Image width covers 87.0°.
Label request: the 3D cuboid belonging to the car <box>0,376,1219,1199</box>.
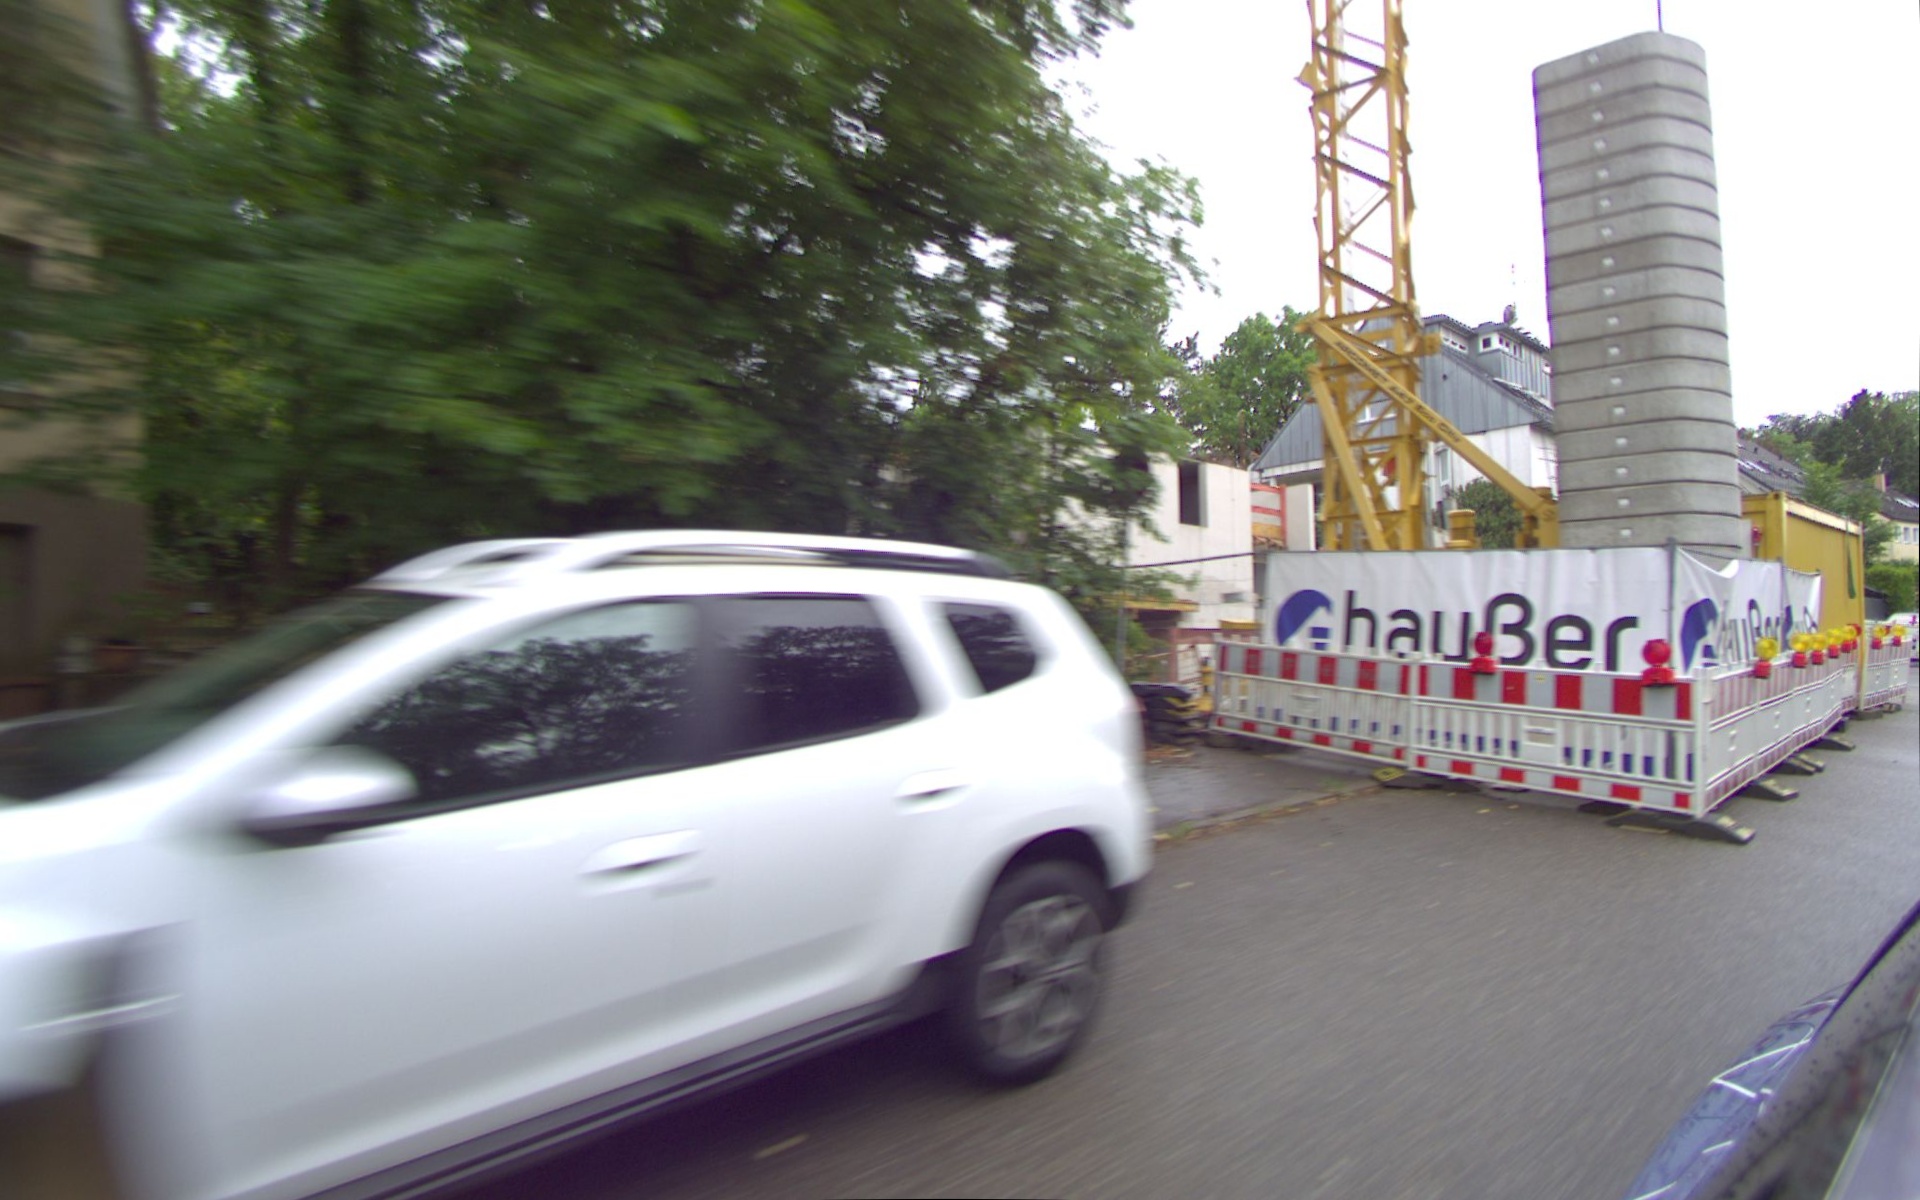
[{"bbox_3d":[-1.252,0.535,2.858,4.425,1.727,1.747,1,0,-43],"label":"car"}]

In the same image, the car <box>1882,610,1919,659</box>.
[{"bbox_3d":[30.215,1.028,31.376,4.753,1.440,1.934,1,-1,-42],"label":"car"}]
